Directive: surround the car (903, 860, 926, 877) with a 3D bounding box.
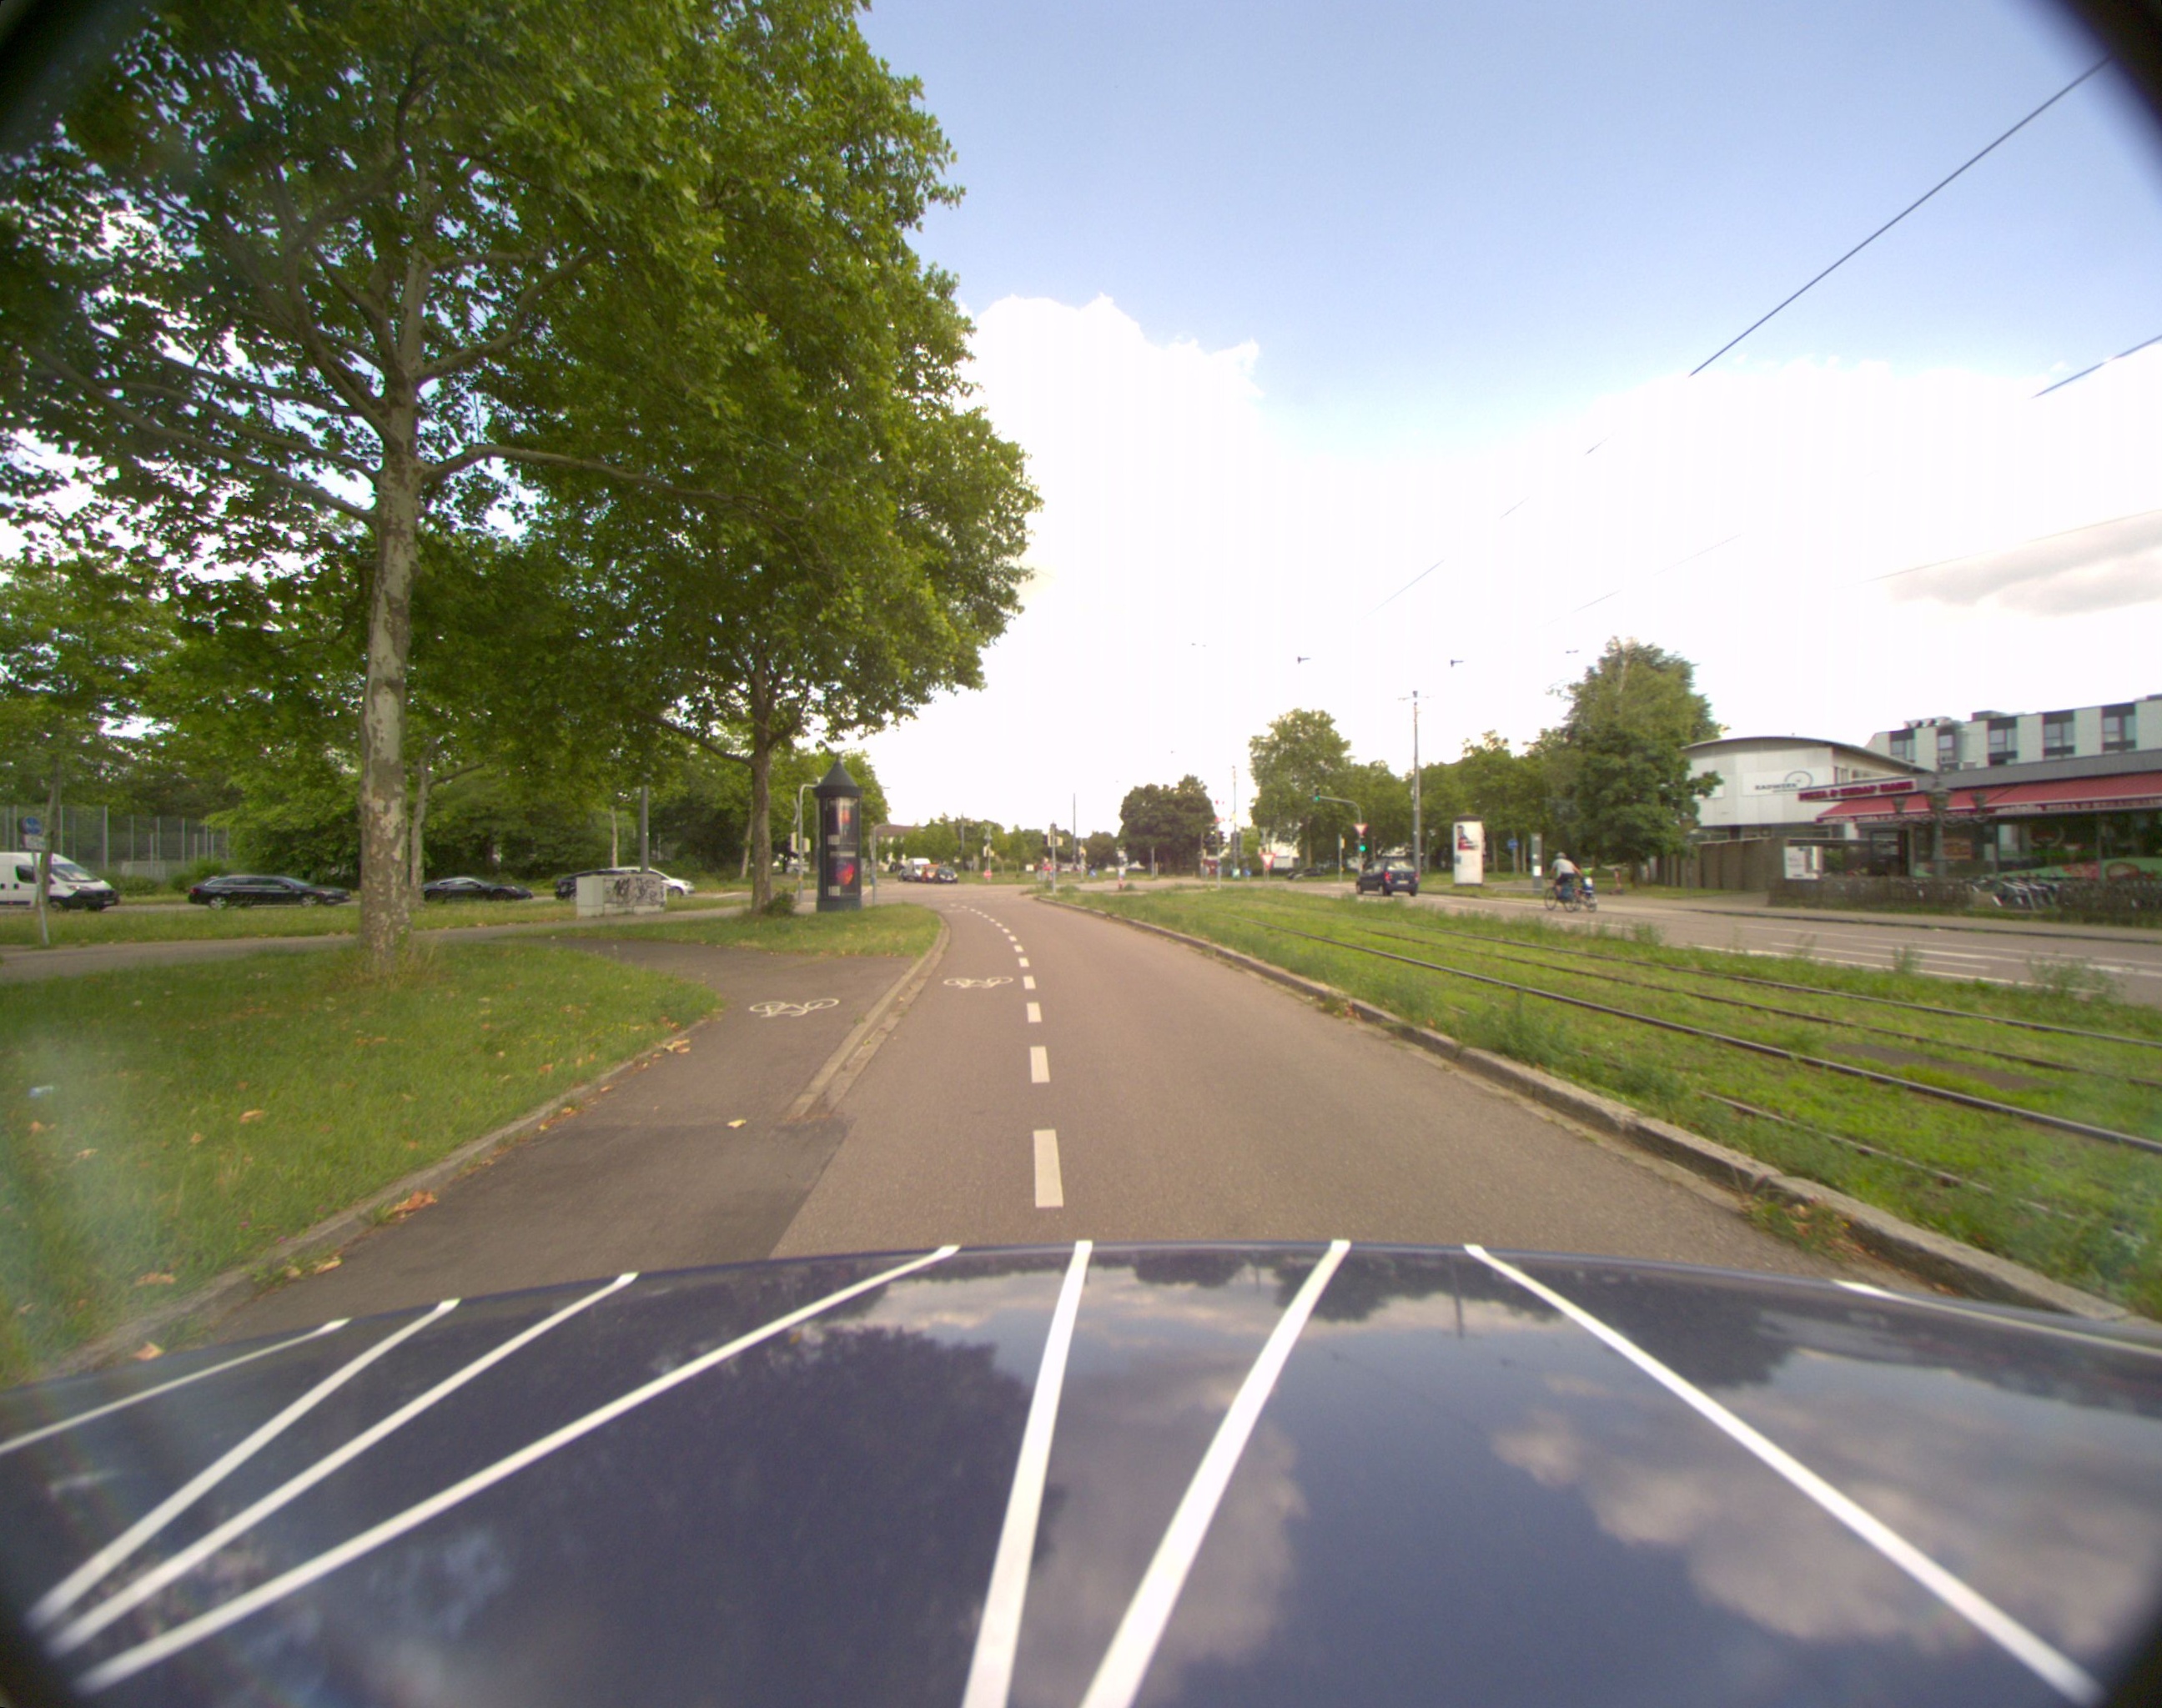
[{"bbox_3d":[-19.519,1.717,88.758,1.798,1.924,4.360,-1,0,-23],"label":"car"}]

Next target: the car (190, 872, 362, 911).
[{"bbox_3d":[-34.758,1.568,32.993,4.692,1.504,1.996,0,0,-24],"label":"car"}]

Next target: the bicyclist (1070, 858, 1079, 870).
[{"bbox_3d":[-0.856,1.304,98.041,0.806,1.461,0.830,-1,-2,-29],"label":"bicyclist"}]

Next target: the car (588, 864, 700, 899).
[{"bbox_3d":[-22.047,1.338,38.566,4.692,1.601,1.996,0,0,-24],"label":"car"}]

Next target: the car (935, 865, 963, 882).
[{"bbox_3d":[-12.522,1.823,71.796,1.798,1.530,3.993,-1,0,-22],"label":"car"}]

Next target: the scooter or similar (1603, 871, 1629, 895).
[{"bbox_3d":[23.613,1.253,33.540,0.427,1.027,1.224,-1,0,7],"label":"scooter or similar"}]

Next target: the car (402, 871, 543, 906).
[{"bbox_3d":[-28.281,1.564,35.513,4.755,1.461,1.996,0,0,-24],"label":"car"}]

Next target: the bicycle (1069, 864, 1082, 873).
[{"bbox_3d":[-0.740,1.866,97.848,0.806,1.053,2.065,-1,-2,-29],"label":"bicycle"}]

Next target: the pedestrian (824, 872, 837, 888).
[{"bbox_3d":[-16.668,1.699,50.491,0.723,1.028,0.900,-1,0,-23],"label":"pedestrian"}]

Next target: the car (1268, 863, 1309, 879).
[{"bbox_3d":[20.051,1.616,73.343,3.864,1.514,1.695,0,0,-35],"label":"car"}]

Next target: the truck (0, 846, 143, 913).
[{"bbox_3d":[-42.454,0.996,30.018,6.516,2.580,2.213,0,0,-23],"label":"truck"}]

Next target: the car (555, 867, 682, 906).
[{"bbox_3d":[-21.000,1.438,34.760,4.692,1.601,1.996,0,0,-23],"label":"car"}]

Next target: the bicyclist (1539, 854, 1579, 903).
[{"bbox_3d":[14.280,0.720,22.718,0.624,1.449,0.928,0,0,0],"label":"bicyclist"}]

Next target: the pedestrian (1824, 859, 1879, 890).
[{"bbox_3d":[29.446,0.766,29.047,1.156,1.139,0.932,0,0,-2],"label":"pedestrian"}]

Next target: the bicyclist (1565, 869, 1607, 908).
[{"bbox_3d":[15.052,1.020,22.676,0.641,1.106,0.928,0,0,0],"label":"bicyclist"}]

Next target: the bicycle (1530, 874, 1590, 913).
[{"bbox_3d":[14.290,1.163,22.729,0.647,1.073,1.805,0,0,0],"label":"bicycle"}]

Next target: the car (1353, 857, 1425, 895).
[{"bbox_3d":[13.933,0.961,34.555,1.783,1.617,3.495,0,0,-1],"label":"car"}]

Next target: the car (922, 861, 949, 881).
[{"bbox_3d":[-14.862,1.695,77.419,1.798,1.924,4.361,-1,0,-22],"label":"car"}]

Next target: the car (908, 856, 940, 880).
[{"bbox_3d":[-17.275,1.488,83.492,2.243,2.492,5.715,-1,0,-23],"label":"car"}]

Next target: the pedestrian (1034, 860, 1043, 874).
[{"bbox_3d":[-6.007,1.841,107.511,0.909,1.856,1.000,-1,0,-25],"label":"pedestrian"}]

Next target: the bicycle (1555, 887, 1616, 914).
[{"bbox_3d":[15.048,1.365,22.718,0.647,0.713,1.805,0,0,0],"label":"bicycle"}]
